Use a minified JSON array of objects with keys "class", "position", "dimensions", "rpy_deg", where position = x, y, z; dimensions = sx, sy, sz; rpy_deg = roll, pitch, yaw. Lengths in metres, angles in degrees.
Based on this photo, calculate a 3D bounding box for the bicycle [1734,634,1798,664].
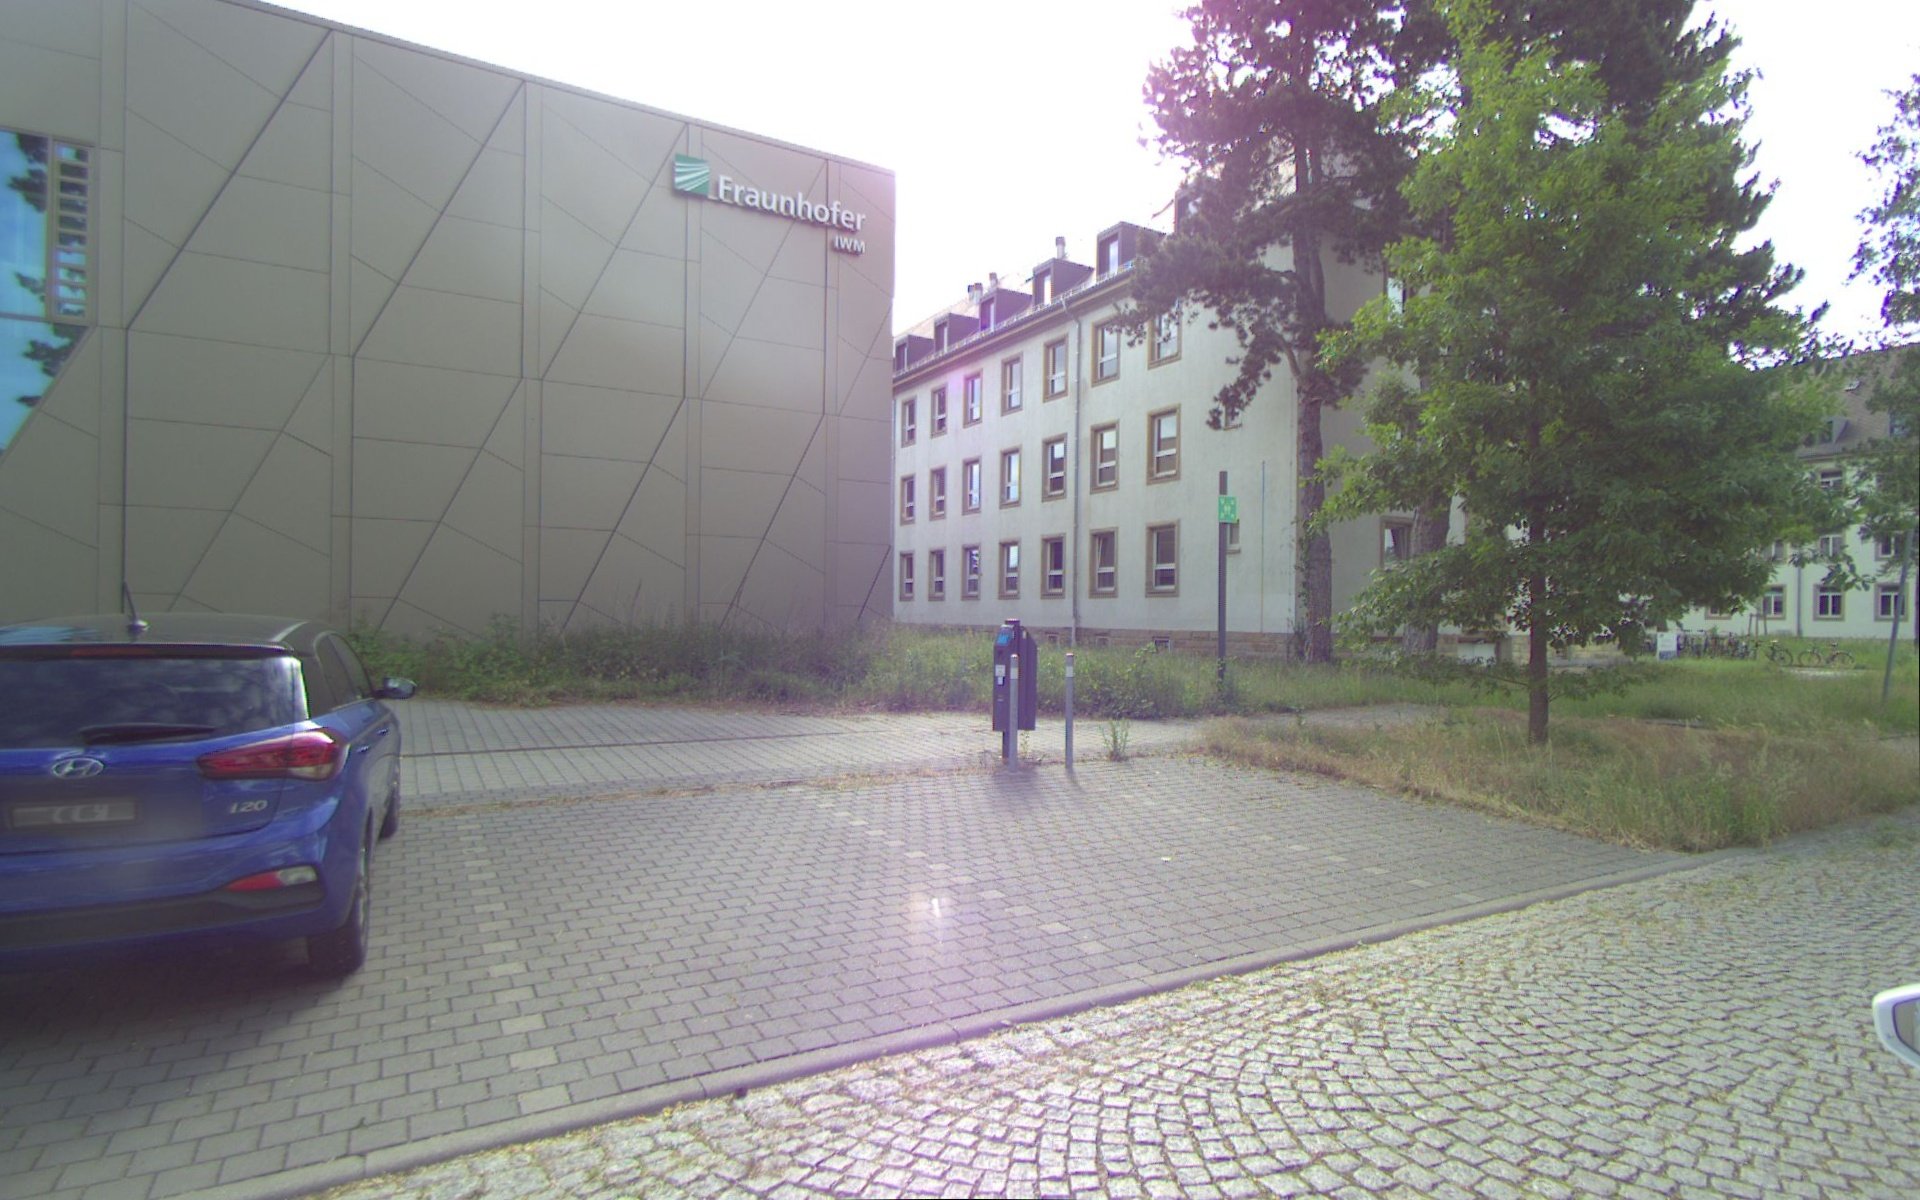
[{"class":"bicycle","position":[31.811,1.918,39.649],"dimensions":[0.729,1.090,1.849],"rpy_deg":[1,-1,-27]}]

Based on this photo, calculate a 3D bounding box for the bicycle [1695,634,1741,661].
[{"class":"bicycle","position":[31.778,1.974,42.095],"dimensions":[2.246,1.090,0.732],"rpy_deg":[1,-1,-30]}]

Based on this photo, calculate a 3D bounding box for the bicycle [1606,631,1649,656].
[{"class":"bicycle","position":[30.125,1.946,45.325],"dimensions":[2.246,1.090,0.732],"rpy_deg":[1,-1,-30]}]

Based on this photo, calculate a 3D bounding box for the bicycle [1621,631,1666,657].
[{"class":"bicycle","position":[30.402,1.949,44.667],"dimensions":[2.246,1.090,0.732],"rpy_deg":[1,-1,-30]}]

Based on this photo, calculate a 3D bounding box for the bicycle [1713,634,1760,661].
[{"class":"bicycle","position":[32.156,1.965,41.575],"dimensions":[2.246,1.090,0.732],"rpy_deg":[1,-1,-30]}]

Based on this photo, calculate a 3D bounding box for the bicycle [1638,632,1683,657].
[{"class":"bicycle","position":[30.695,1.945,43.992],"dimensions":[2.246,1.090,0.732],"rpy_deg":[1,-1,-30]}]

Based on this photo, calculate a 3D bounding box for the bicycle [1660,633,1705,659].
[{"class":"bicycle","position":[31.427,1.978,43.676],"dimensions":[2.246,1.090,0.732],"rpy_deg":[1,-1,-30]}]

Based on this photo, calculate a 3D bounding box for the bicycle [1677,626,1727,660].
[{"class":"bicycle","position":[31.722,1.837,42.923],"dimensions":[2.679,1.404,0.732],"rpy_deg":[1,-1,-30]}]

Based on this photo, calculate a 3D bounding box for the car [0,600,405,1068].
[{"class":"car","position":[-3.964,0.798,5.093],"dimensions":[1.828,1.498,3.752],"rpy_deg":[1,0,-27]}]

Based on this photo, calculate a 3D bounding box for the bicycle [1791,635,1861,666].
[{"class":"bicycle","position":[32.756,1.902,38.023],"dimensions":[0.821,1.090,1.849],"rpy_deg":[1,-1,-27]}]
